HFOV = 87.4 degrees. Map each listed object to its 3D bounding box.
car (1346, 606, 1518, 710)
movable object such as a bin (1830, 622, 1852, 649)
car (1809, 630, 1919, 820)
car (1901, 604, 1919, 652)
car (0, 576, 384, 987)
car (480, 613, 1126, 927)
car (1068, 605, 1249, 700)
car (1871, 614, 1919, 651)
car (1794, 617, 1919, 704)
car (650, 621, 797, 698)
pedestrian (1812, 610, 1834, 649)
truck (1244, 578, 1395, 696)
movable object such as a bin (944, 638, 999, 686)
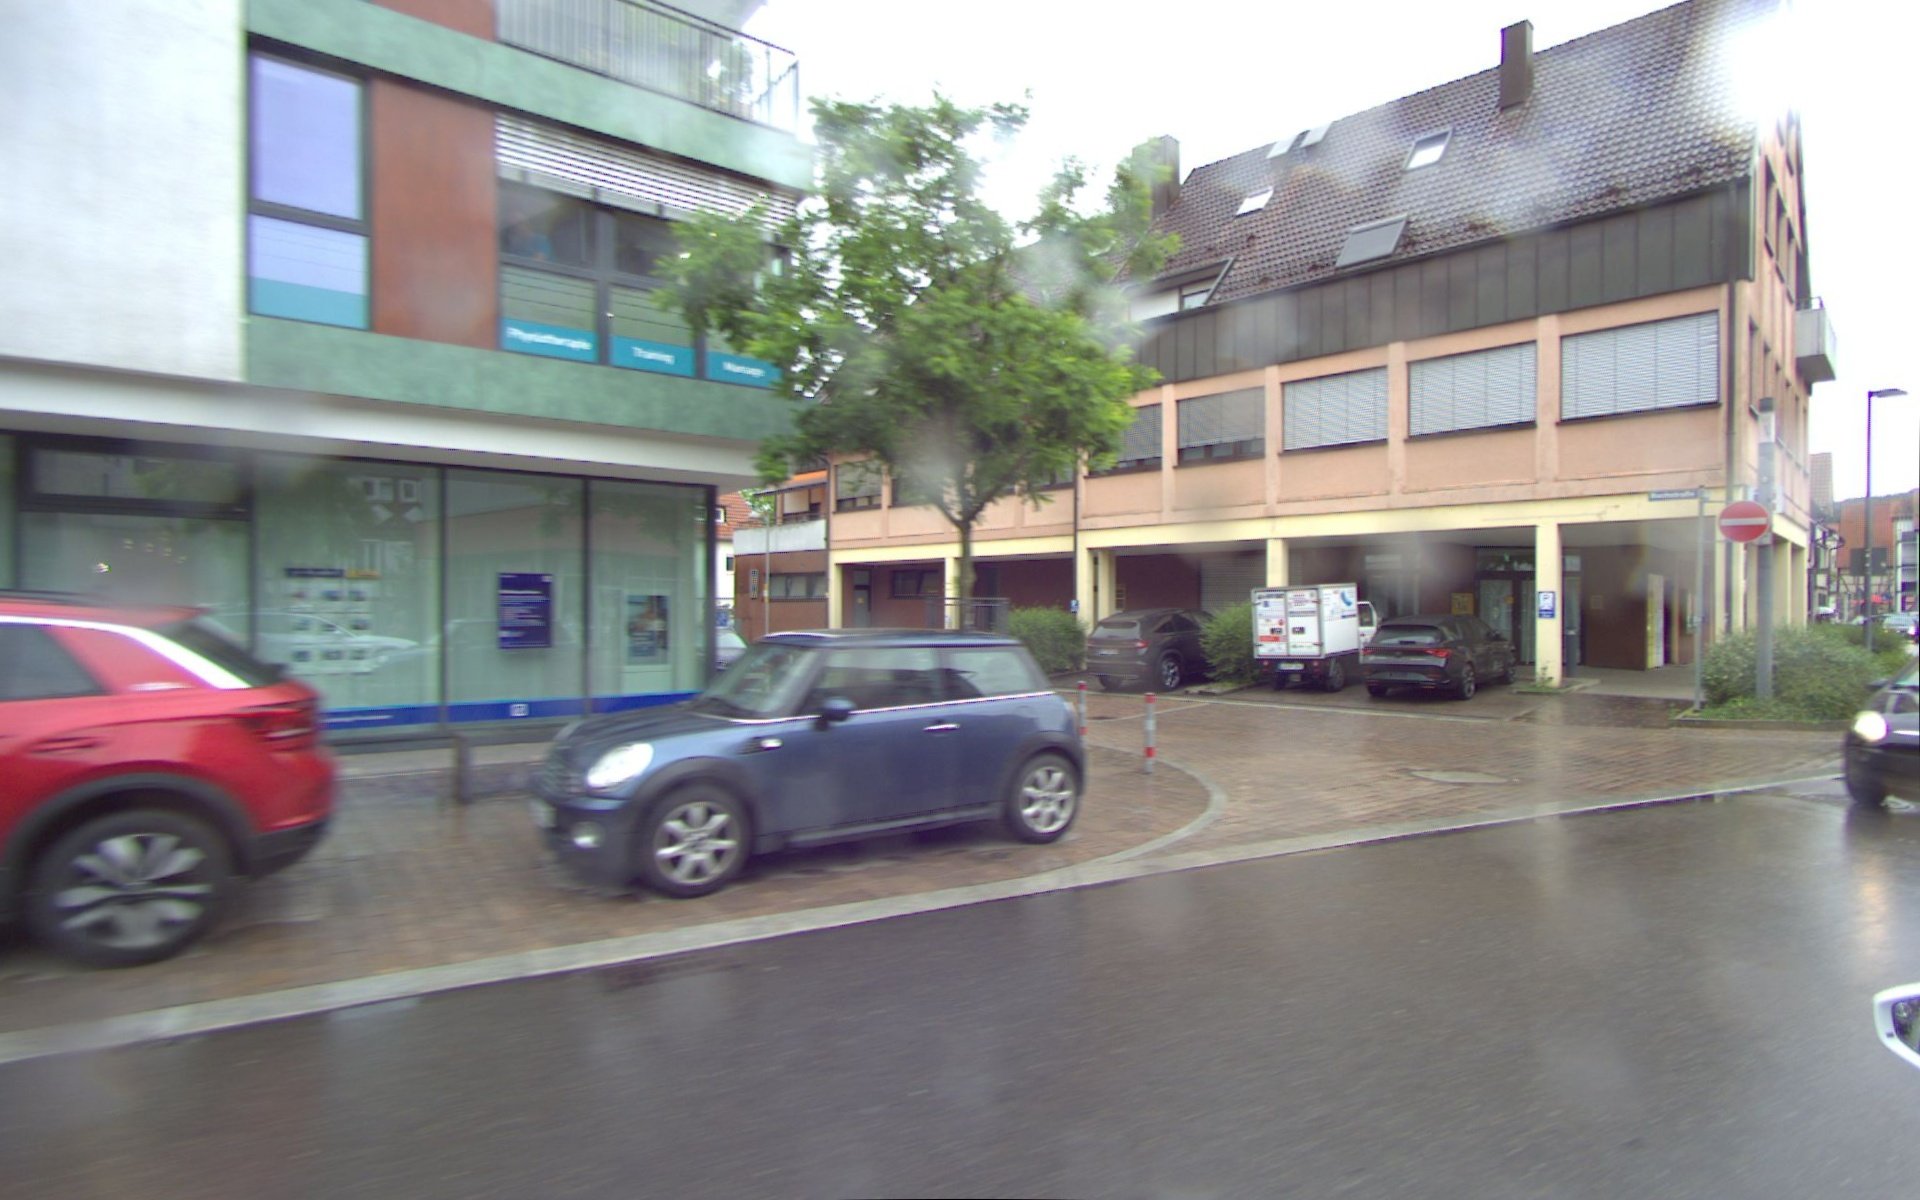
[{"bbox_3d":[8.788,0.984,18.562,3.795,1.499,1.563,-5,3,-43],"label":"car"},{"bbox_3d":[46.499,1.861,53.018,0.824,1.400,0.850,0,-1,39],"label":"movable object such as a bin"},{"bbox_3d":[9.189,0.995,8.700,3.939,1.464,1.640,1,-2,-32],"label":"car"},{"bbox_3d":[45.691,1.325,47.169,2.081,2.174,4.840,-3,-3,43],"label":"car"},{"bbox_3d":[-4.852,0.702,4.189,4.069,1.597,1.774,2,-2,-37],"label":"car"},{"bbox_3d":[-0.913,0.866,6.635,3.870,1.477,1.704,1,0,-34],"label":"car"},{"bbox_3d":[4.443,1.081,22.242,3.966,1.640,1.797,-5,3,-40],"label":"car"},{"bbox_3d":[54.069,1.897,57.873,4.333,2.040,1.975,2,-3,-44],"label":"car"},{"bbox_3d":[17.530,1.107,19.701,1.695,1.477,3.890,1,0,41],"label":"car"},{"bbox_3d":[-5.689,1.356,23.897,1.803,1.639,3.953,2,-2,-40],"label":"car"},{"bbox_3d":[45.152,1.533,52.547,0.824,2.040,0.850,0,-1,39],"label":"pedestrian"},{"bbox_3d":[7.391,0.704,20.530,3.170,2.090,1.581,-4,1,-44],"label":"truck"},{"bbox_3d":[0.288,1.562,25.346,0.915,1.111,0.993,-3,0,-35],"label":"movable object such as a bin"}]
